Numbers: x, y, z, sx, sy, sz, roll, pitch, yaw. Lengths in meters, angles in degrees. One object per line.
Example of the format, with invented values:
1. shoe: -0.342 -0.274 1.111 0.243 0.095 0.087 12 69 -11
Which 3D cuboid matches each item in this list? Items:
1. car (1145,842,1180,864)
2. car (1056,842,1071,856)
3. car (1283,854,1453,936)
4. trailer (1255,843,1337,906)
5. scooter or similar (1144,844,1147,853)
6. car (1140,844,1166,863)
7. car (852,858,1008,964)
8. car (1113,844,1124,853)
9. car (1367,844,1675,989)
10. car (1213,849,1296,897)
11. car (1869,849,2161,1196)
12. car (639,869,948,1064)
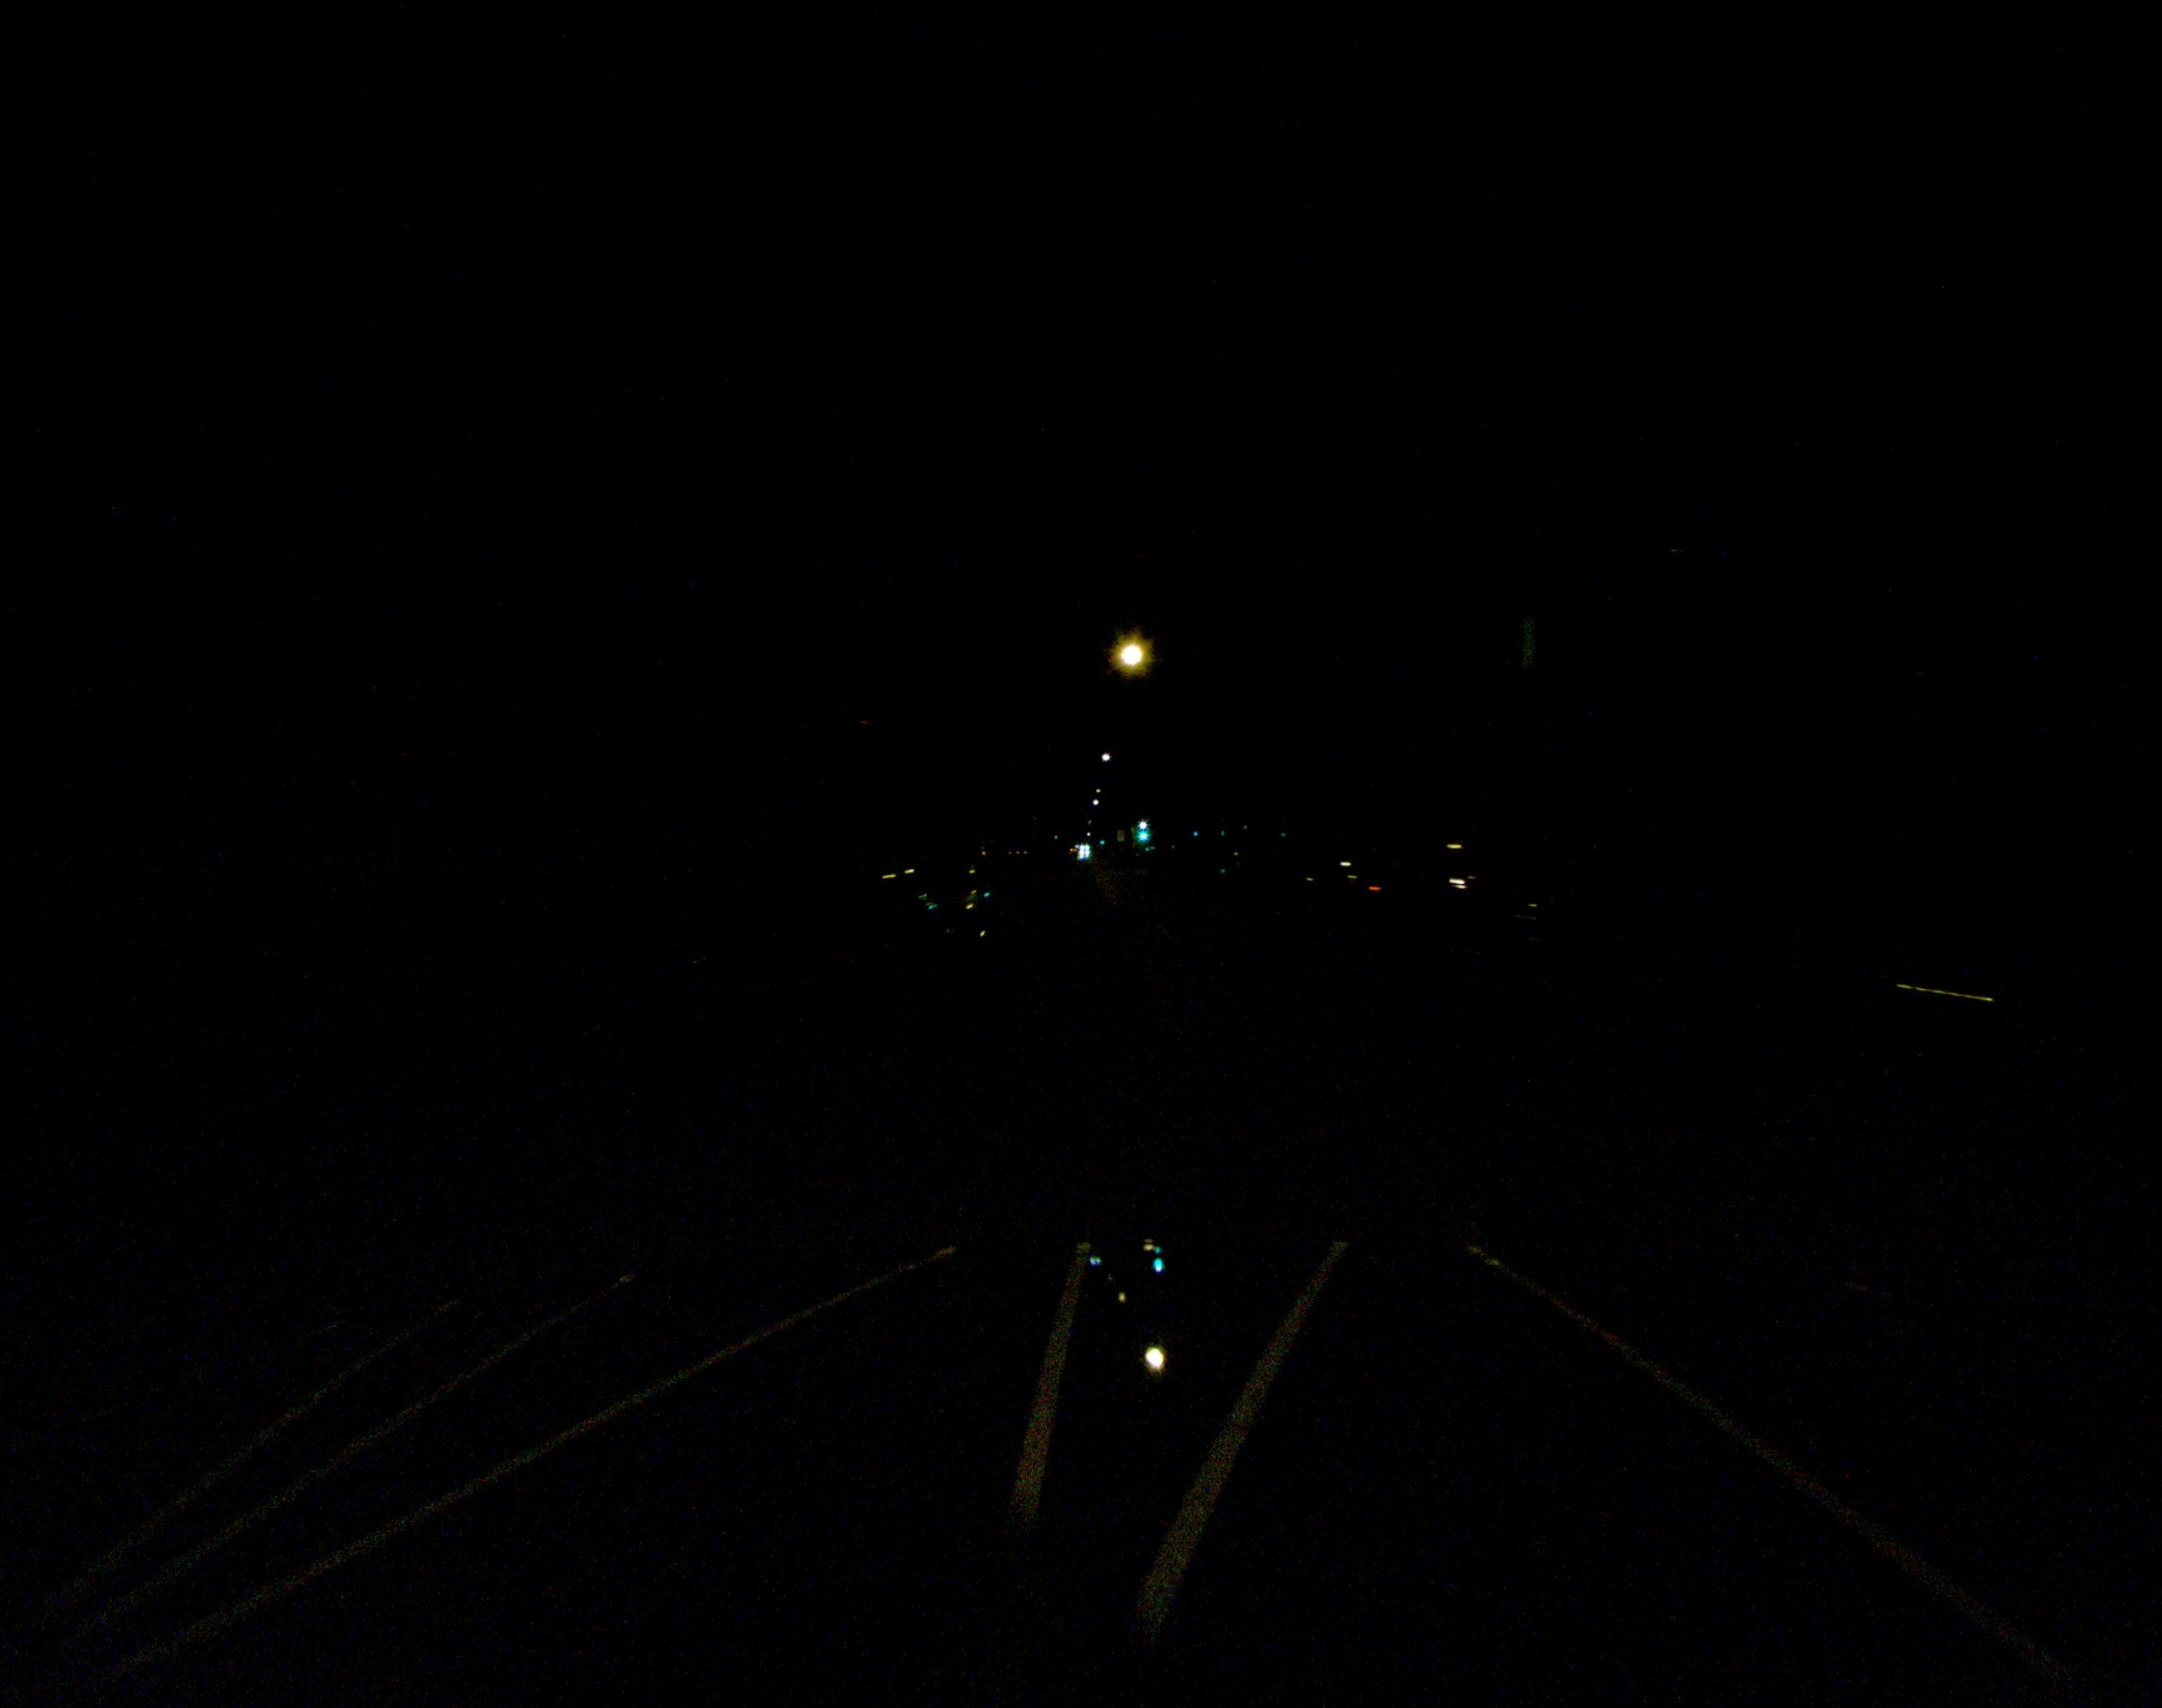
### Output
1. car: 6.246 -0.080 58.712 1.853 1.641 4.670 -2 0 -3
2. car: -2.294 -0.688 101.098 1.916 1.816 4.898 -1 1 -2
3. car: 5.839 0.748 16.141 1.840 1.438 4.544 -1 0 -1
4. trailer: 6.192 0.529 22.225 1.641 1.630 3.439 -2 1 5
5. scooter or similar: 9.415 -0.776 110.368 0.332 1.218 1.335 -2 2 2
6. car: 6.109 -0.049 64.686 1.652 1.506 3.700 -2 1 -3
7. car: -2.487 0.863 13.667 1.850 1.409 4.644 2 1 0
8. car: 6.730 -1.056 136.090 1.731 1.477 4.290 -2 1 -1
9. car: 5.896 0.698 10.974 1.839 1.609 4.544 -2 1 1
10. car: 5.968 0.598 26.658 1.819 1.476 4.346 -1 1 -1
11. car: 5.776 0.786 2.525 1.868 1.483 4.279 -2 1 0
12. car: -2.674 0.950 8.155 1.775 1.439 4.018 0 1 0
